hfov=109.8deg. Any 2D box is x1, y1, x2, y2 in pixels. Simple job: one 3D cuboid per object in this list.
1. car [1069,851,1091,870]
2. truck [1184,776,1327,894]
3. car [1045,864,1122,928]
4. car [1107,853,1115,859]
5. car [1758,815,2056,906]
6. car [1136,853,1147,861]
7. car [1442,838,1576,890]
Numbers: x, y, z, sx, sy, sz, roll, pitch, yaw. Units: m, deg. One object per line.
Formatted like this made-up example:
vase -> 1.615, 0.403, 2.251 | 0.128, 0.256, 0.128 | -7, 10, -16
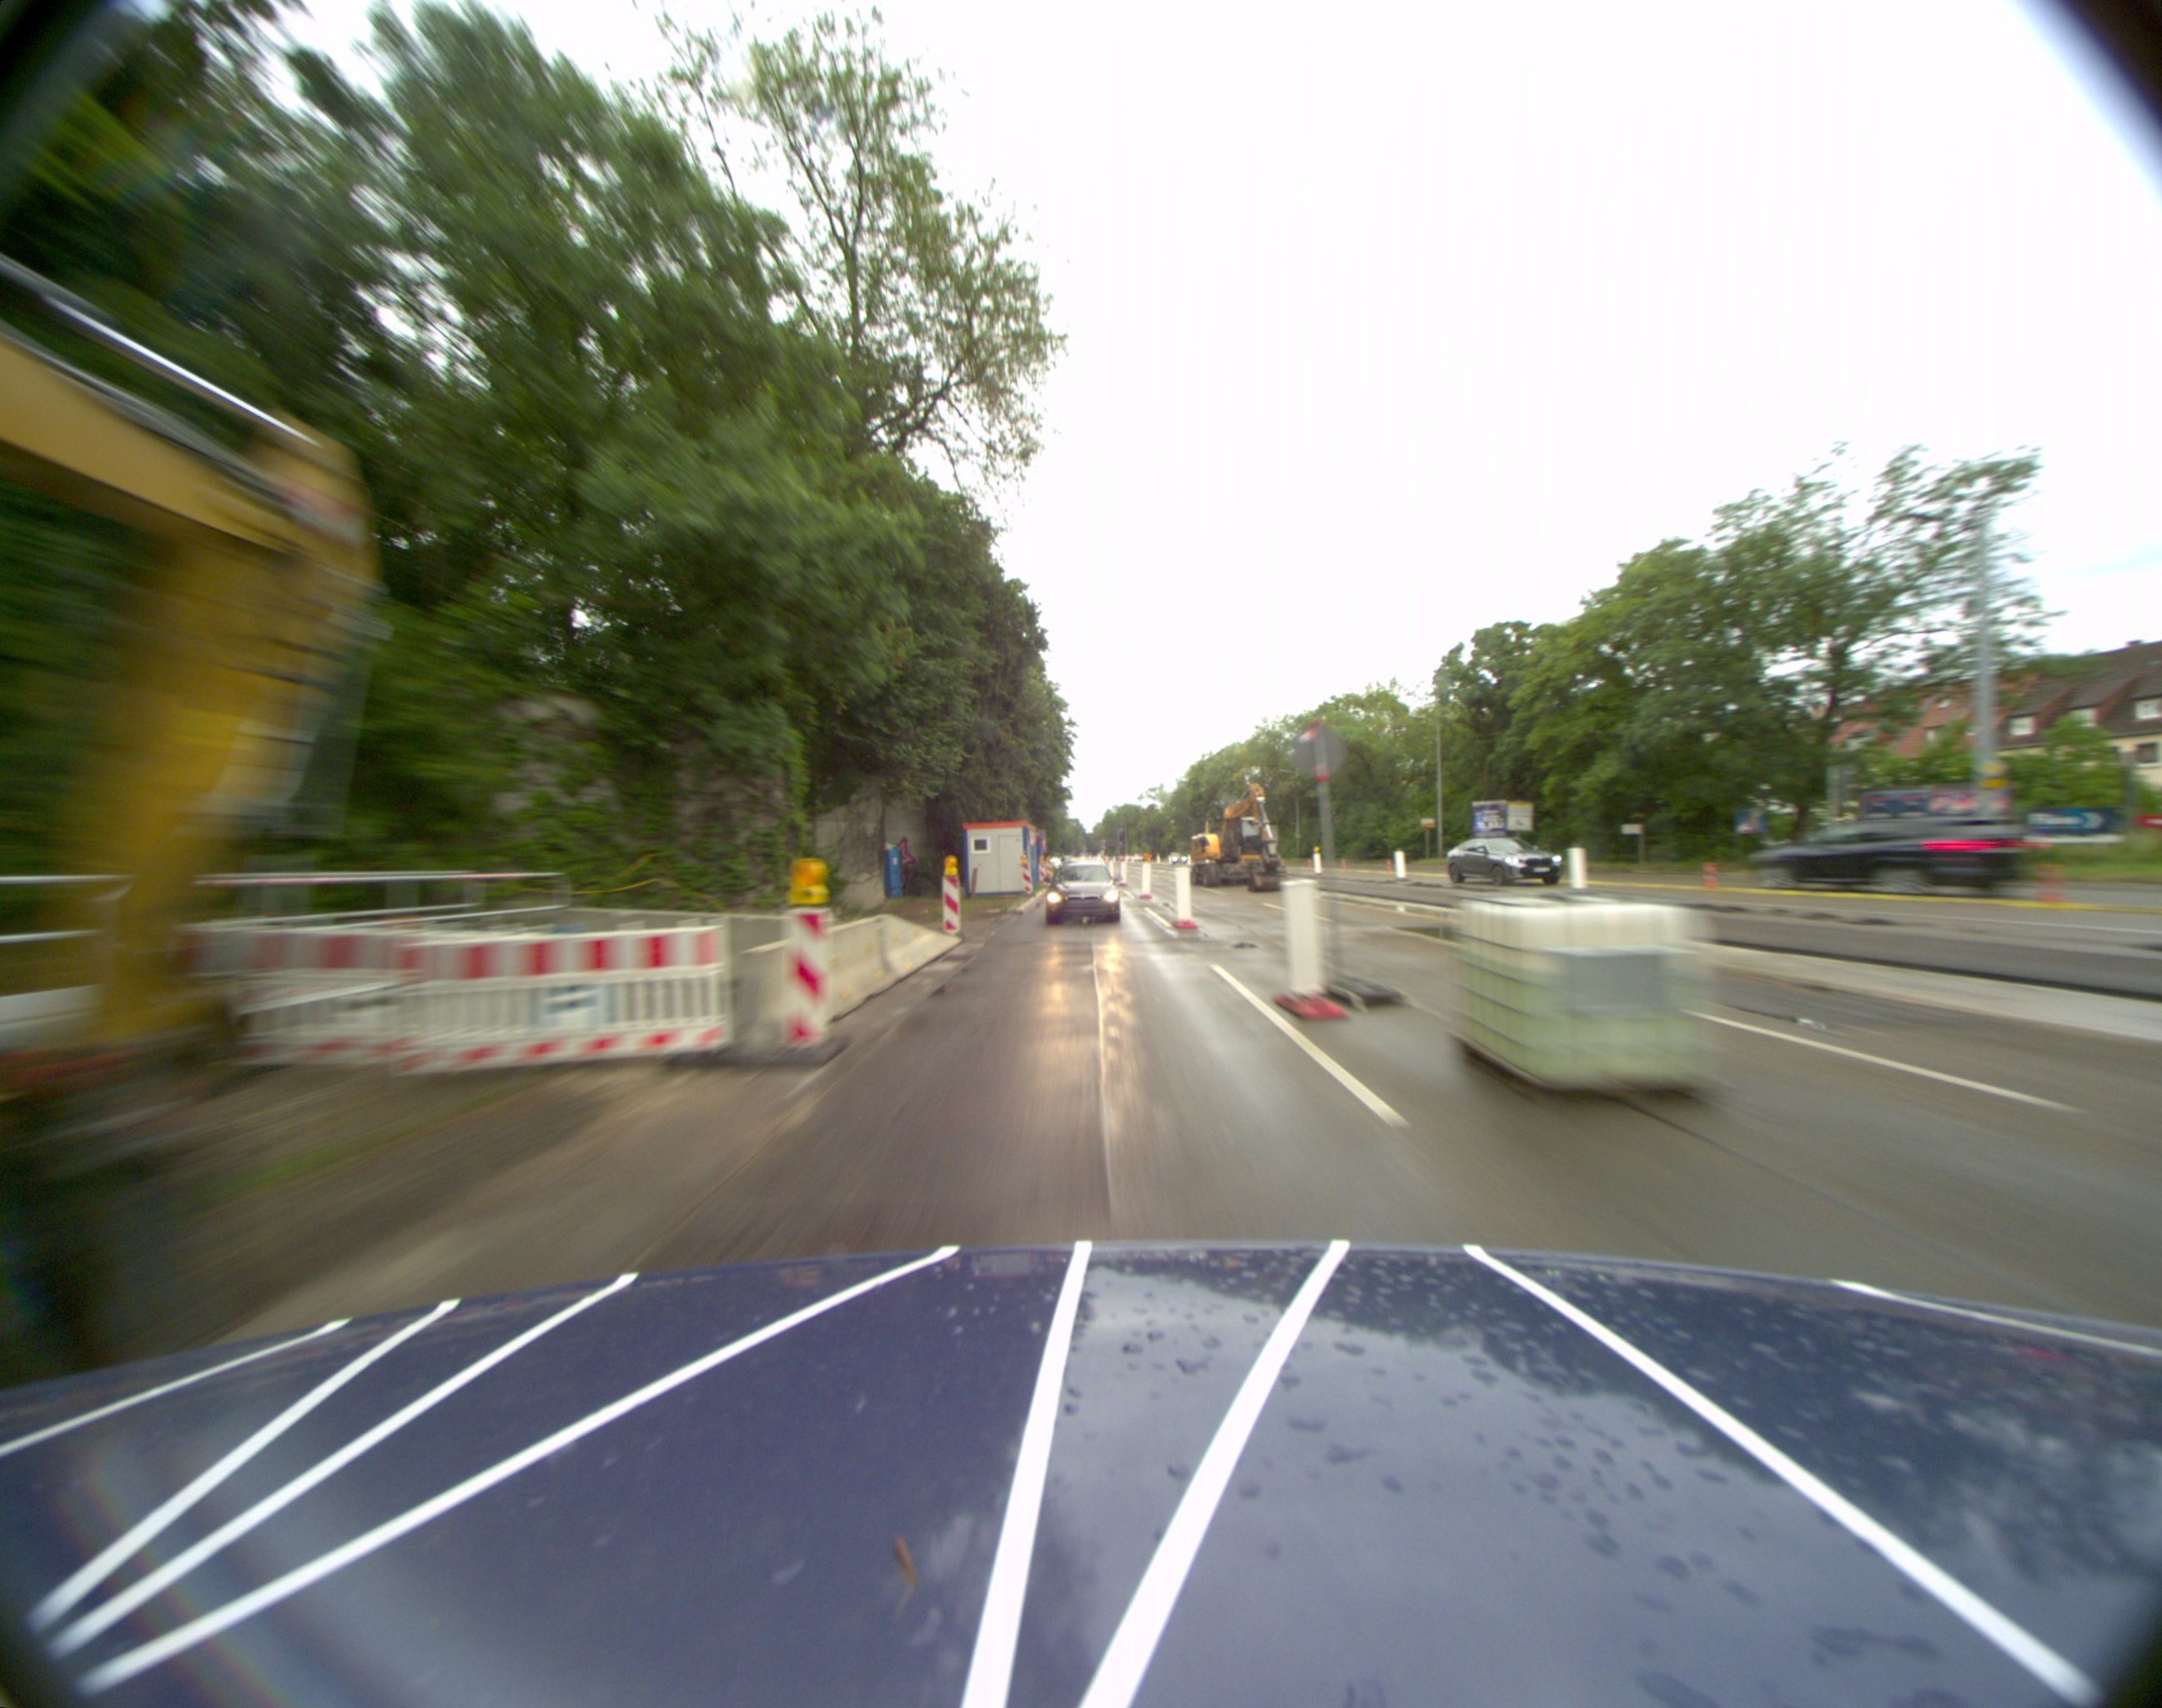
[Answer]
car -> -0.130, 0.592, 71.726 | 1.999, 1.707, 3.999 | -1, 0, -2
truck -> 7.116, -0.683, 33.169 | 2.906, 4.234, 10.751 | -2, 0, -4
car -> -0.032, 0.994, 19.521 | 1.658, 1.409, 4.127 | -1, 0, -4
car -> 9.238, 0.671, 237.530 | 2.027, 1.715, 5.011 | -2, 0, -2
car -> 18.689, 0.126, 17.605 | 1.976, 1.795, 4.608 | -1, 0, 2
car -> 13.620, 0.631, 170.651 | 1.895, 1.651, 4.892 | -2, 0, -2
car -> 15.041, 0.332, 27.068 | 1.999, 1.619, 4.811 | -2, 0, -1
